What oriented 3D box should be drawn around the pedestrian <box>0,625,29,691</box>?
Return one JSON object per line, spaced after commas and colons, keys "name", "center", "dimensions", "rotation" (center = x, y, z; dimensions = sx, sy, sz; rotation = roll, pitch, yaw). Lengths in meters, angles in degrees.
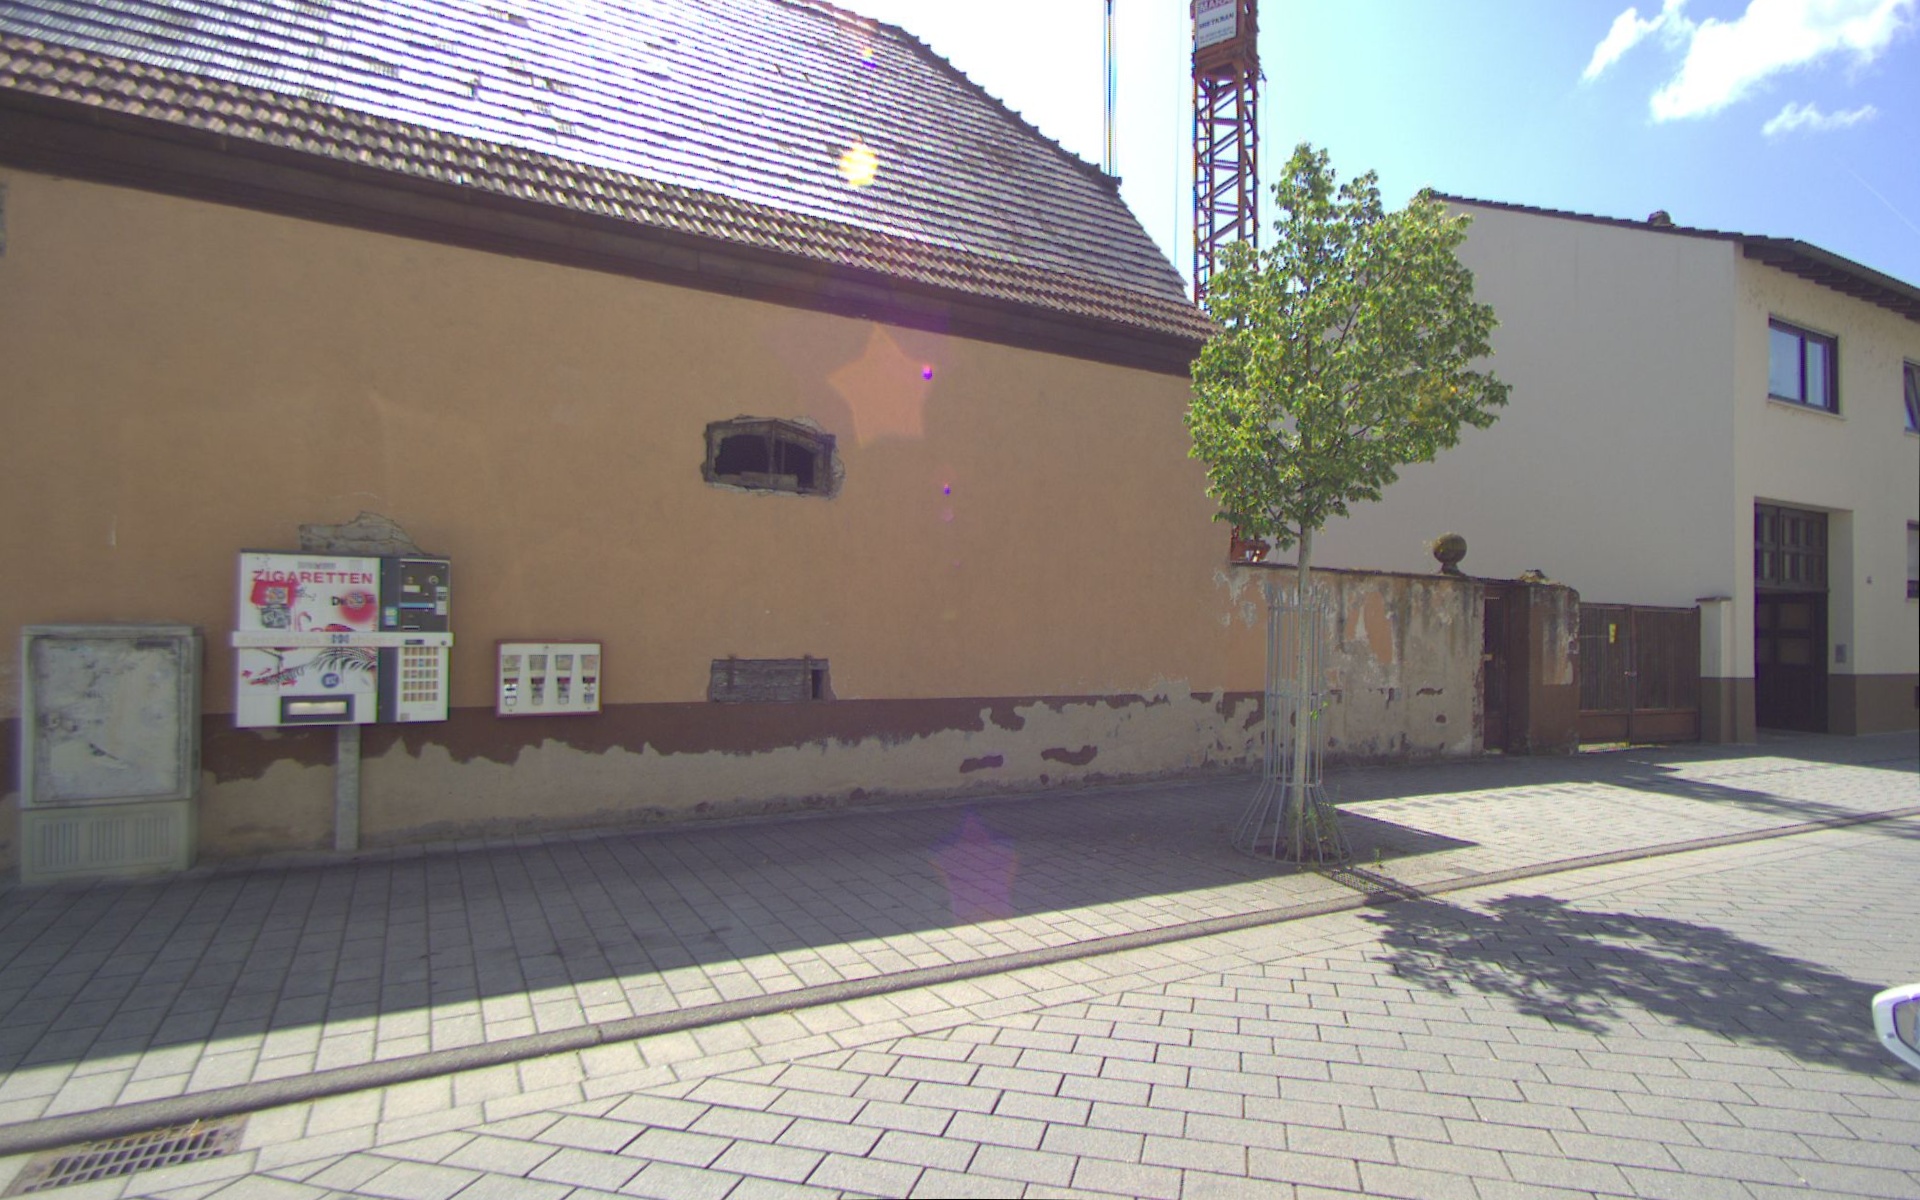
{"name": "pedestrian", "center": [-15.804, 0.936, 16.420], "dimensions": [0.623, 1.021, 0.812], "rotation": [2, 0, -27]}
